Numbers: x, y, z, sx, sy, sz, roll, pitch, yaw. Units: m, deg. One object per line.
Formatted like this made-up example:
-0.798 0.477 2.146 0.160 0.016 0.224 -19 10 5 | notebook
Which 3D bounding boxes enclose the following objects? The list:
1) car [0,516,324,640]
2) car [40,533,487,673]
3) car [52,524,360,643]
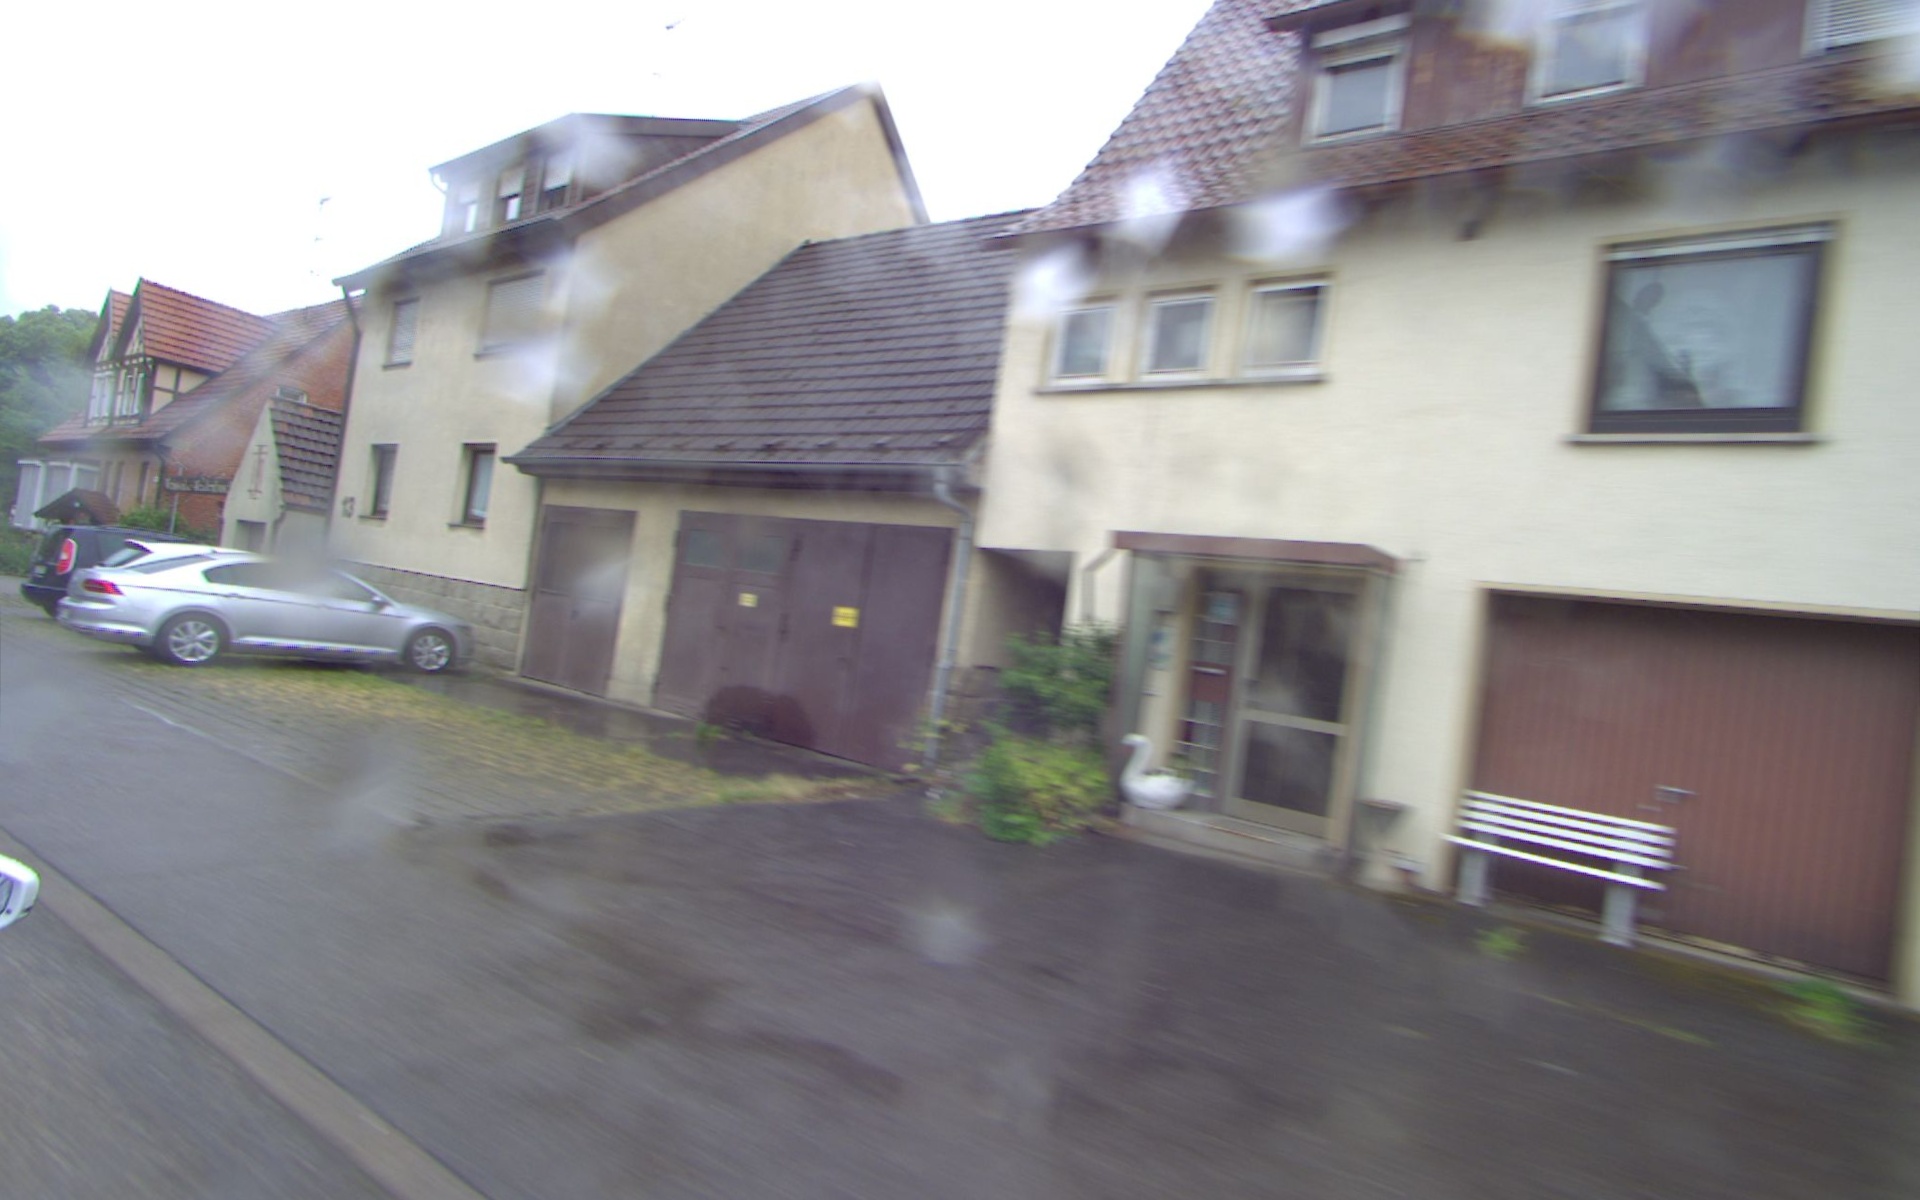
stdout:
-13.682 -0.308 17.482 1.720 1.601 3.994 5 -3 32 | car
-9.159 0.131 13.611 1.795 1.432 4.607 6 -1 39 | car
-11.545 -0.200 15.577 1.693 1.548 3.419 3 -1 35 | car
